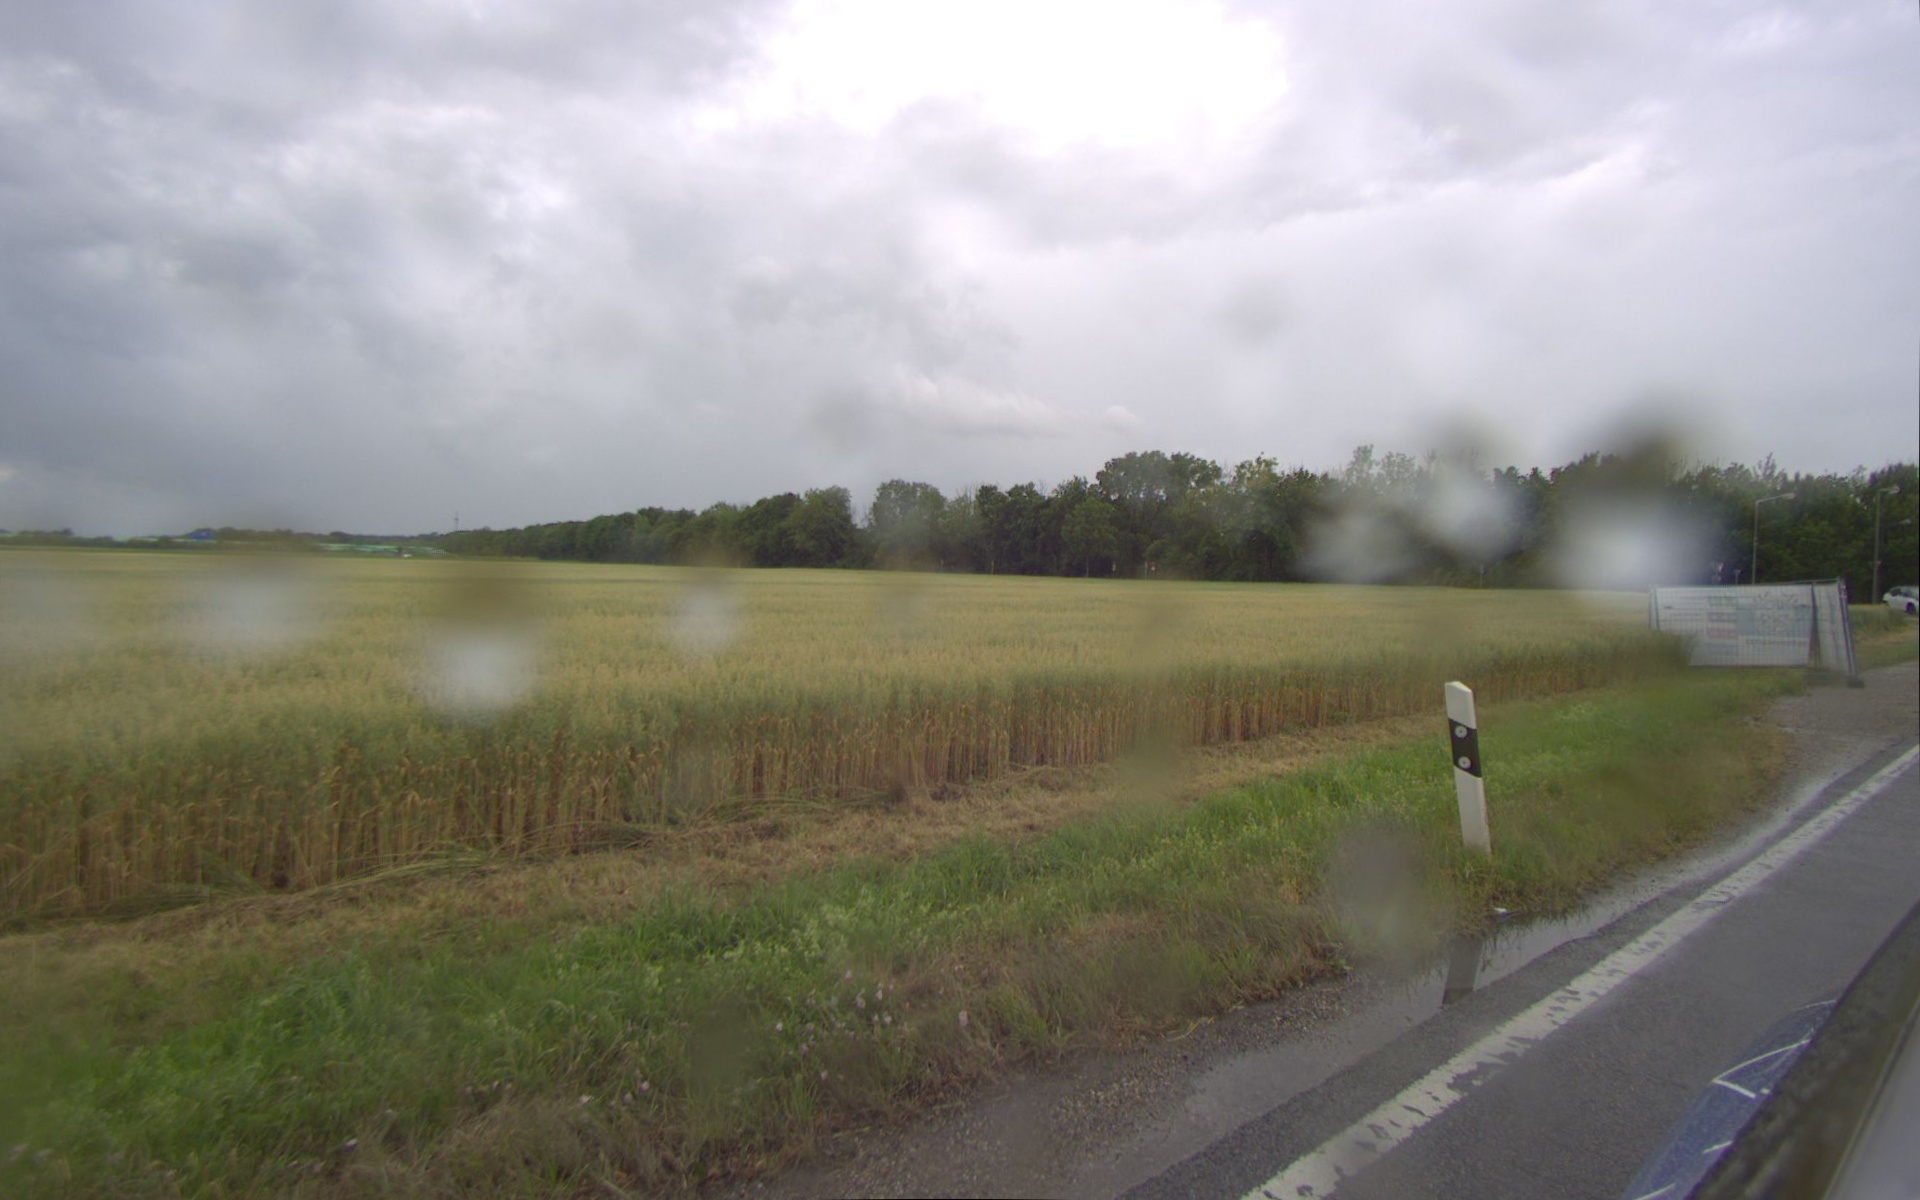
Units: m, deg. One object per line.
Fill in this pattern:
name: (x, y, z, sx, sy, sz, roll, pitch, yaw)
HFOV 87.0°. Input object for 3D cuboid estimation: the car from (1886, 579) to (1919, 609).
car: (52.374, -0.325, 54.657, 1.870, 1.550, 4.472, 1, 1, 20)
